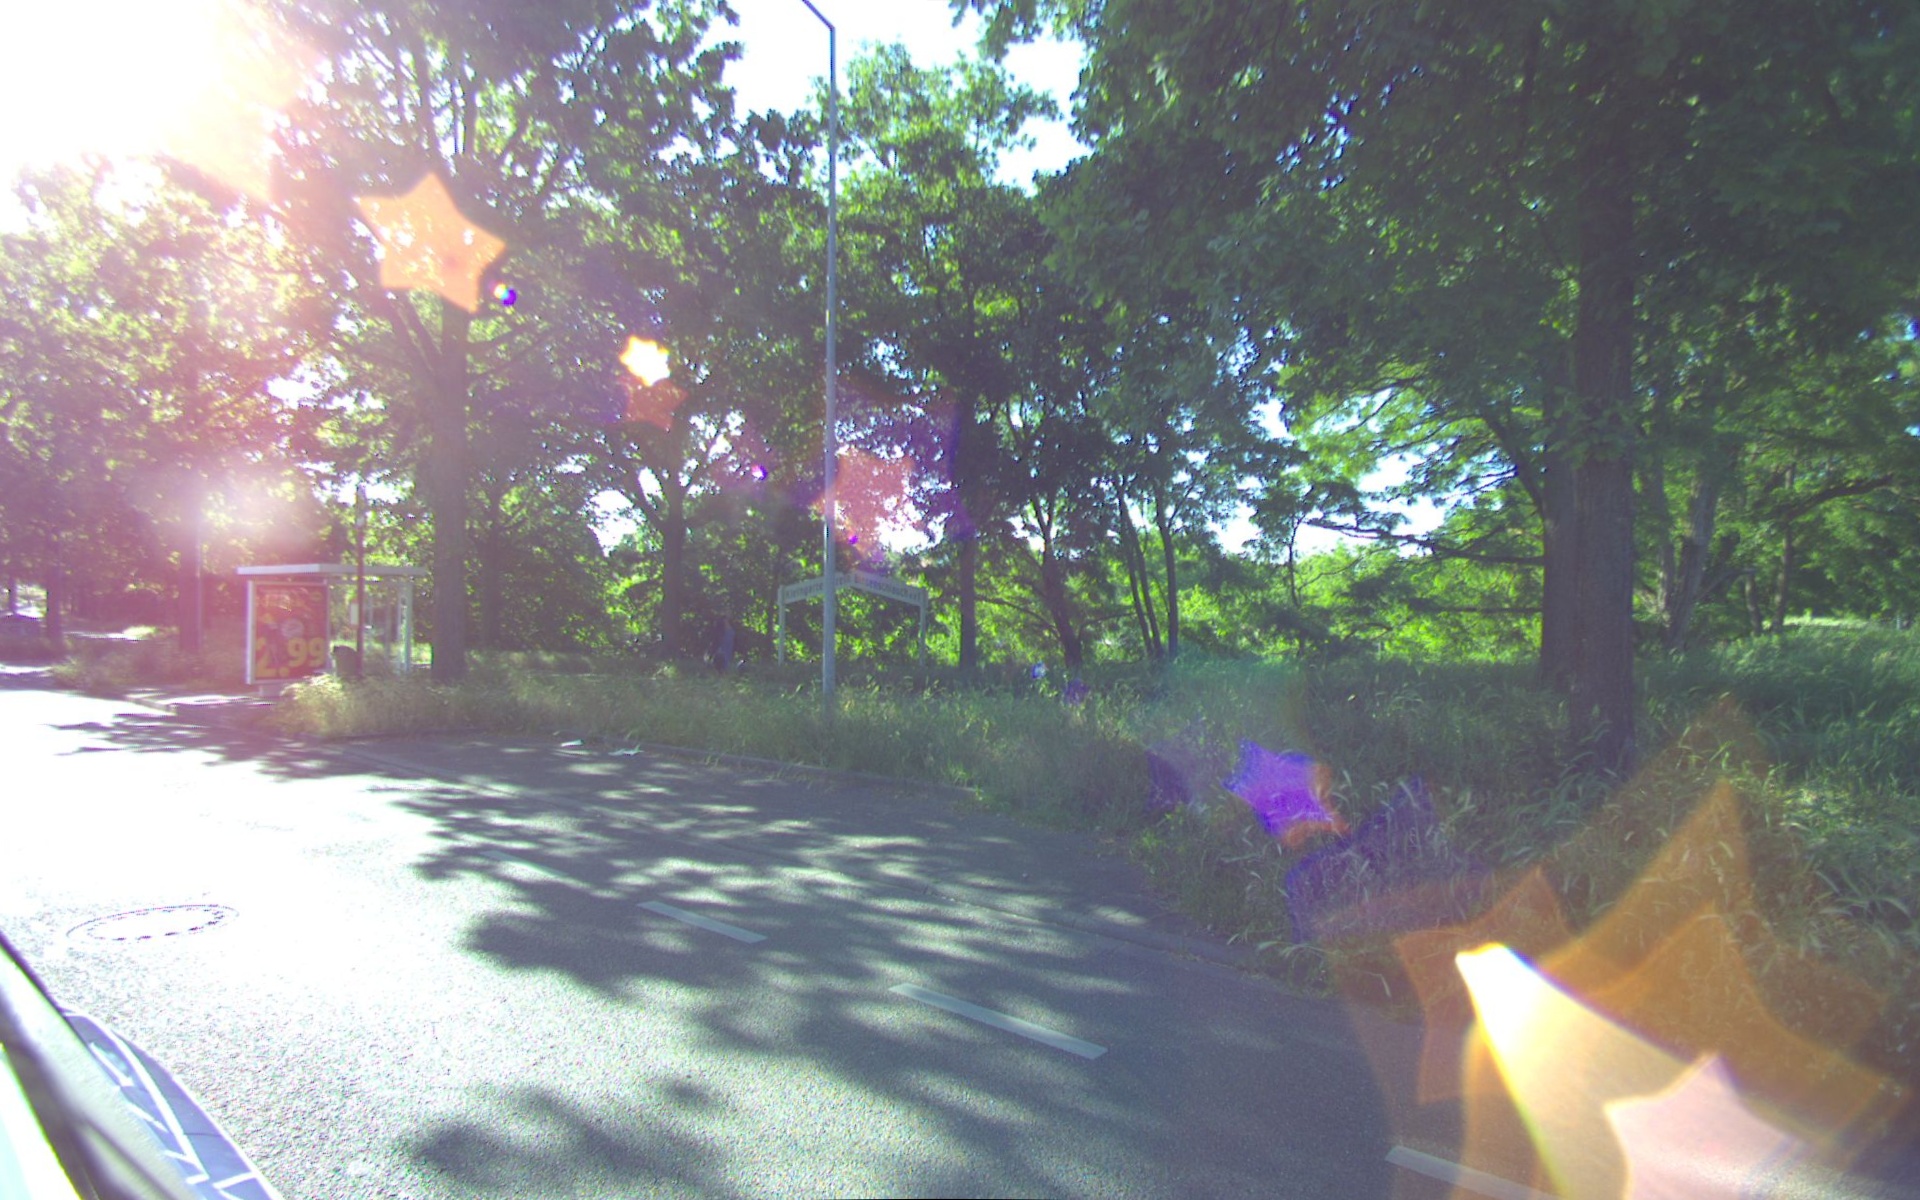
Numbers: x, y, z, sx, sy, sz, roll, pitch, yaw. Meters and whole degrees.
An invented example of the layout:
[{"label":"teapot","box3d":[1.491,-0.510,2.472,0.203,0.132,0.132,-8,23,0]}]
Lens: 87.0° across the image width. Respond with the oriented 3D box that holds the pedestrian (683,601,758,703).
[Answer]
[{"label":"pedestrian","box3d":[-4.165,0.876,17.627,0.891,1.701,0.903,-2,-1,42]}]
